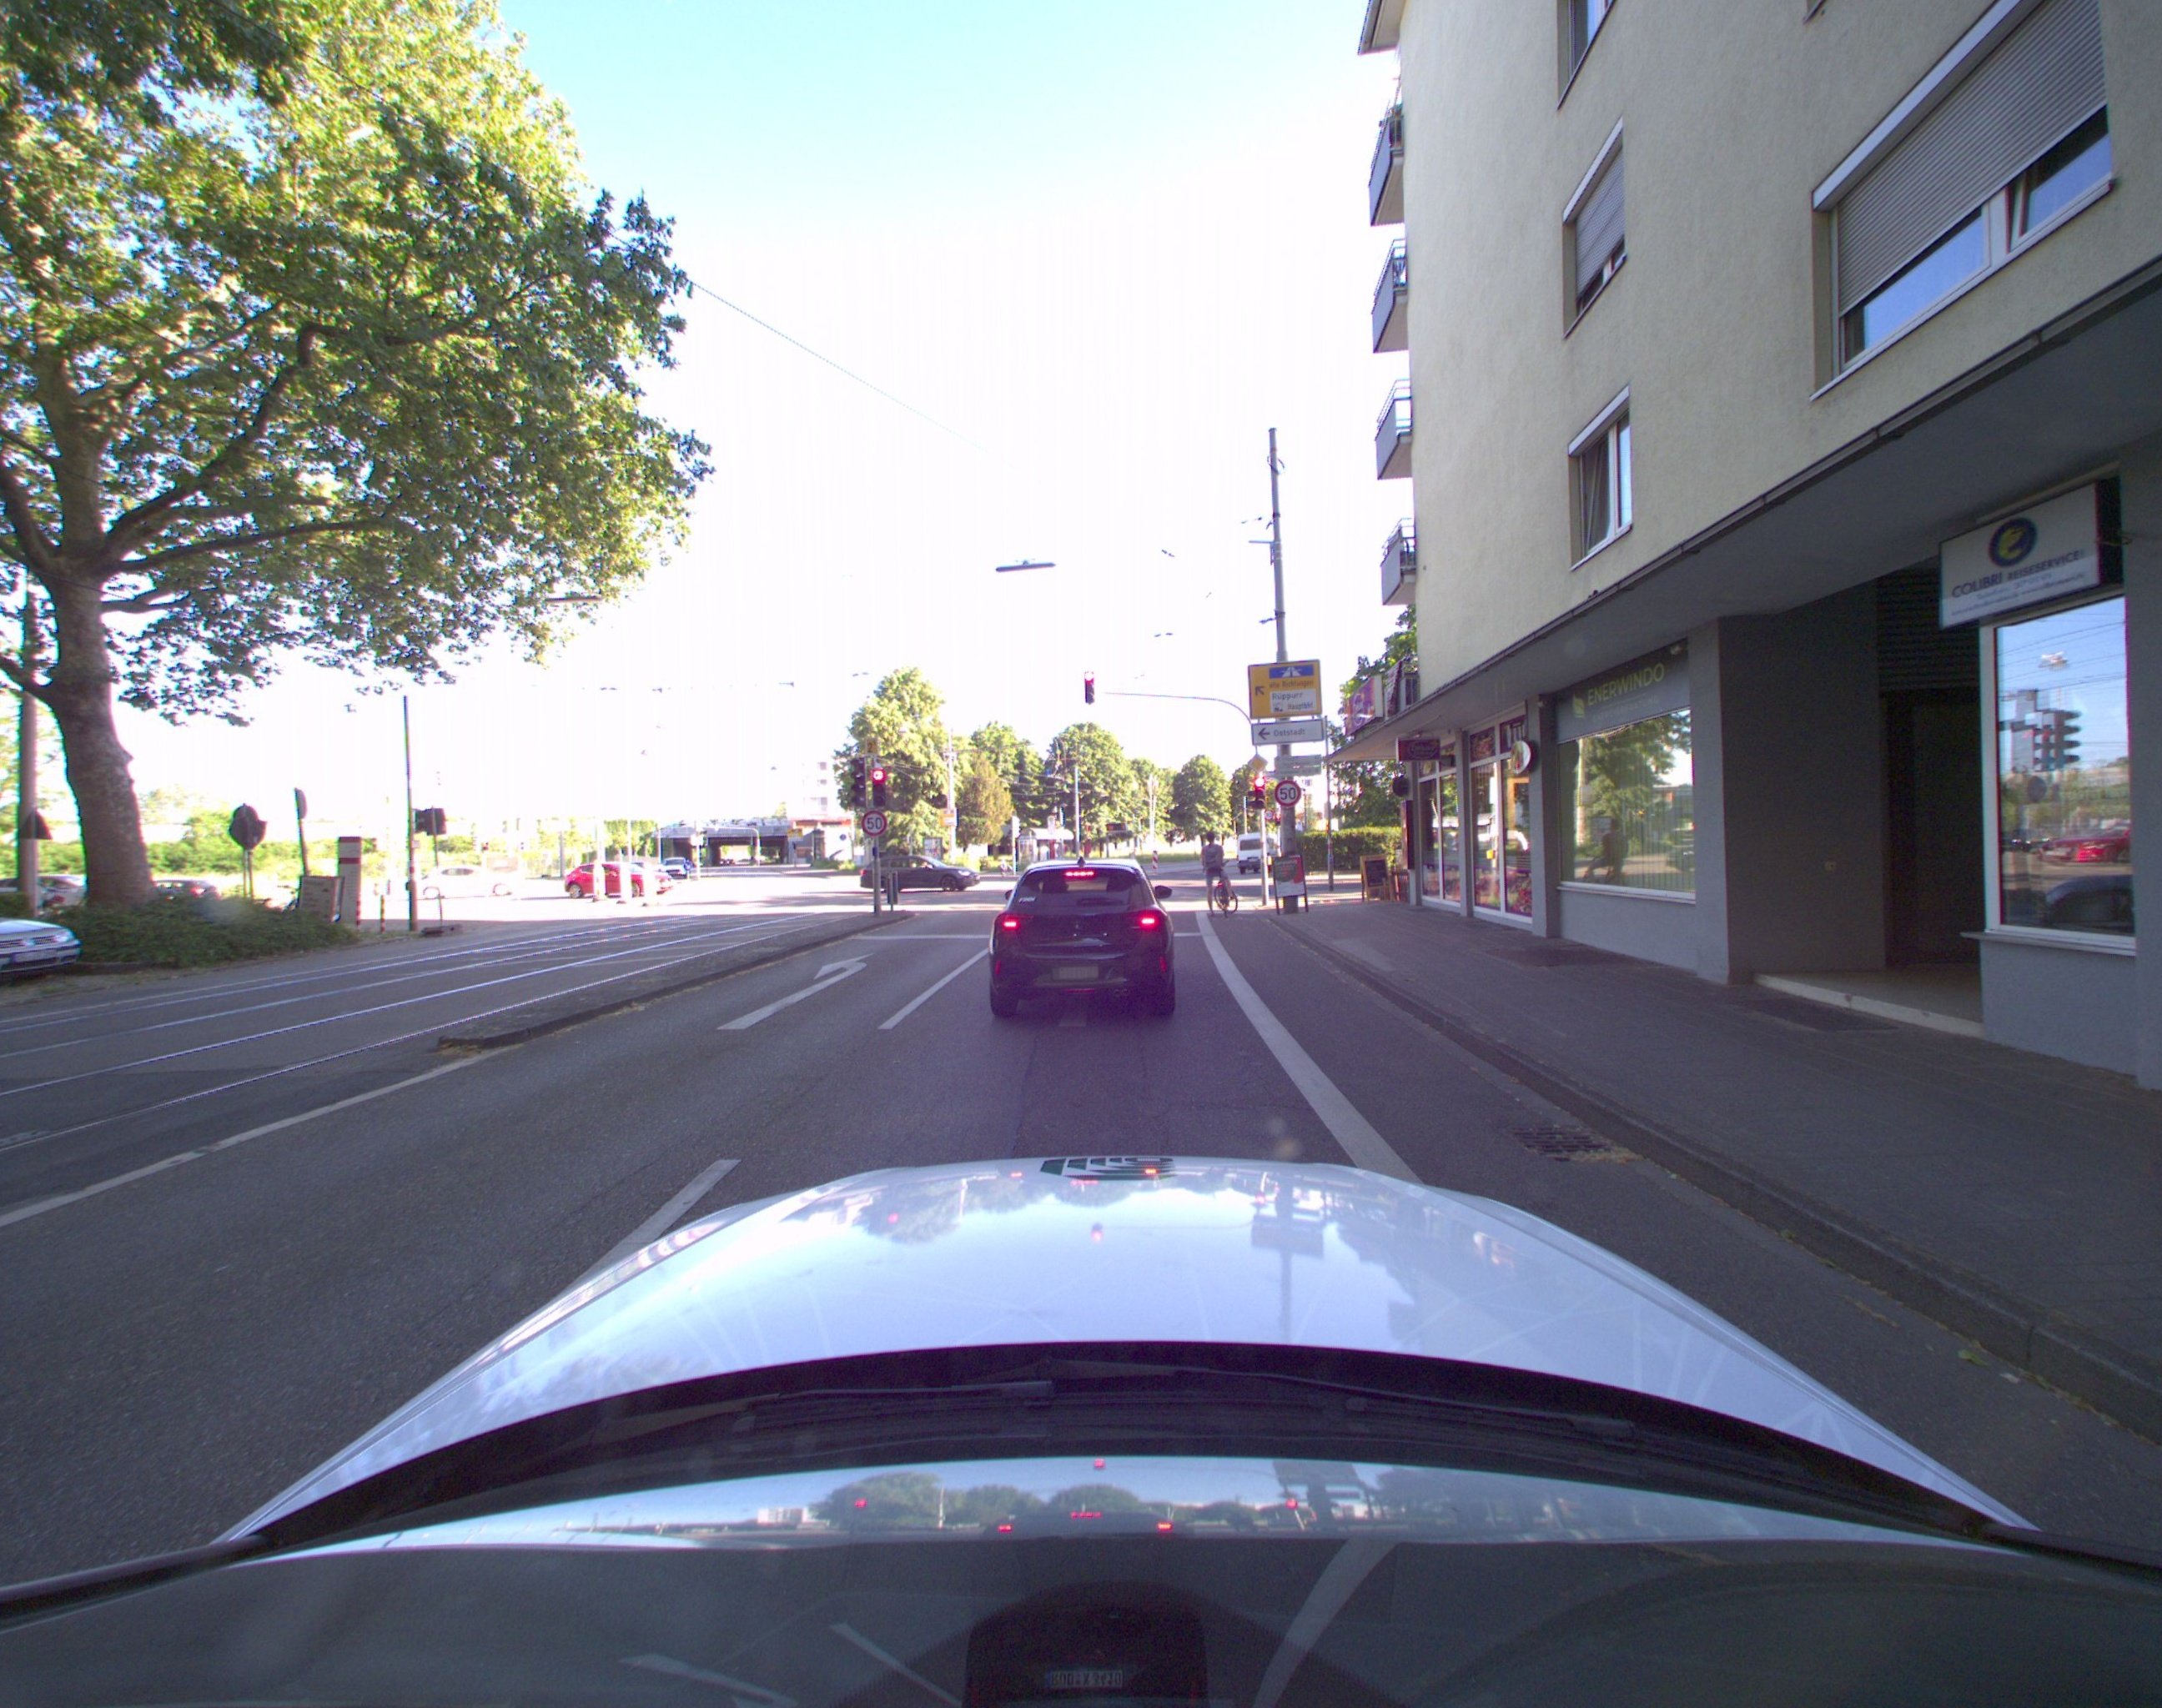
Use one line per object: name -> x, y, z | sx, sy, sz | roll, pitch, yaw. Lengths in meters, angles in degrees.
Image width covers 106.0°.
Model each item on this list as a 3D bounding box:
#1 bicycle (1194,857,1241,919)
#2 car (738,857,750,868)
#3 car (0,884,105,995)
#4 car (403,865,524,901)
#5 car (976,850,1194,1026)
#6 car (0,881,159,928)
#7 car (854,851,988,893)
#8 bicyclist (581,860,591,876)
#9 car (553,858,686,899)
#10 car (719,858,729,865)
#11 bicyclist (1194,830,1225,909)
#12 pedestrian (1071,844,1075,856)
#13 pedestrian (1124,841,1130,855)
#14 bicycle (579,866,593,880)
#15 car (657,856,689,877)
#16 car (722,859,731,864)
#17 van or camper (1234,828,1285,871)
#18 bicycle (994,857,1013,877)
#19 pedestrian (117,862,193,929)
bicycle -> 3.028, 0.716, 17.969 | 0.747, 1.235, 2.024 | -2, 0, 16
car -> -54.299, 1.401, 131.200 | 1.761, 1.684, 3.713 | 0, -1, -22
car -> -16.628, 1.200, 11.347 | 3.957, 1.453, 1.670 | -1, 0, -1
car -> -28.537, 1.319, 37.834 | 4.207, 1.552, 1.979 | 0, -1, -29
car -> 0.094, 0.704, 8.935 | 1.833, 1.462, 3.985 | -1, 0, 2
car -> -39.808, 1.955, 32.054 | 4.215, 1.519, 1.788 | -2, 1, -27
car -> -6.213, 0.698, 31.853 | 4.701, 1.473, 1.943 | -1, 0, 7
bicyclist -> -37.805, 1.081, 62.218 | 0.527, 1.222, 0.526 | -1, 0, -20
car -> -19.275, 0.998, 34.096 | 4.453, 1.565, 2.027 | -1, 0, 7
car -> -71.123, 1.437, 162.075 | 1.587, 1.260, 3.397 | -2, 0, -28
bicyclist -> 2.825, 0.332, 17.864 | 0.529, 1.692, 0.571 | -2, 0, 19
pedestrian -> -1.222, -0.613, 121.616 | 0.602, 1.872, 0.519 | 0, -1, -4
pedestrian -> 5.988, -0.780, 107.058 | 0.606, 1.872, 0.515 | 0, -1, -25
bicycle -> -37.783, 1.458, 62.166 | 0.527, 0.982, 1.567 | -1, 0, -20
car -> -32.596, 1.006, 65.170 | 1.892, 1.585, 3.809 | 0, -1, -21
car -> -82.104, 1.743, 188.440 | 1.587, 1.260, 3.397 | -2, 0, -28
van or camper -> 10.191, -0.225, 46.212 | 2.011, 2.310, 4.565 | -1, -1, 23
bicycle -> -4.401, 0.724, 46.525 | 0.793, 1.064, 2.186 | -2, 0, 2
pedestrian -> -23.348, 1.023, 20.551 | 0.842, 1.647, 0.931 | 0, -1, 1
